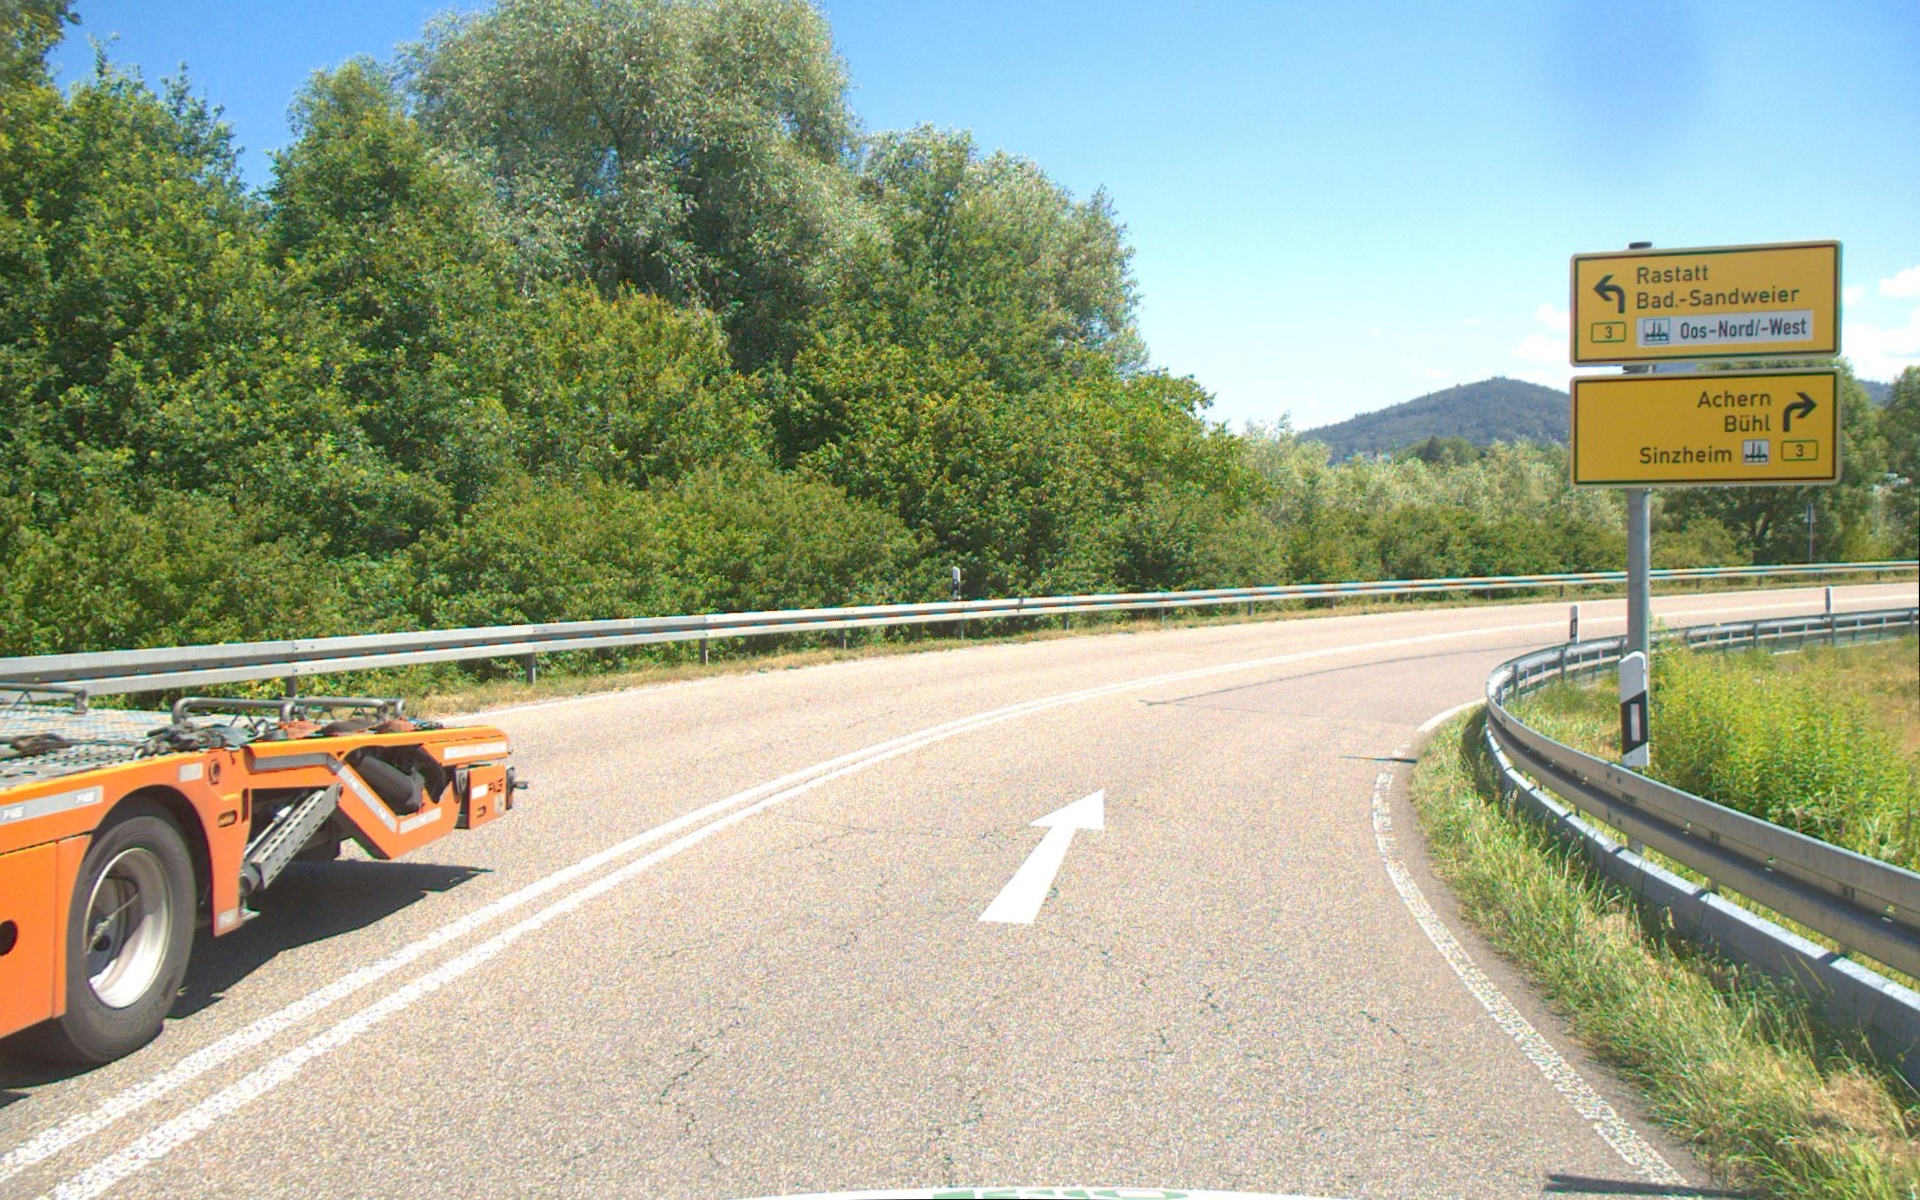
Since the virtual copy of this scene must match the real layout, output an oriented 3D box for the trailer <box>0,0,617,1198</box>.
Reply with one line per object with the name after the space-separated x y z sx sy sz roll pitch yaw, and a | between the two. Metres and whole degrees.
-3.778 -0.597 1.711 2.734 3.966 13.995 1 0 5 | trailer
